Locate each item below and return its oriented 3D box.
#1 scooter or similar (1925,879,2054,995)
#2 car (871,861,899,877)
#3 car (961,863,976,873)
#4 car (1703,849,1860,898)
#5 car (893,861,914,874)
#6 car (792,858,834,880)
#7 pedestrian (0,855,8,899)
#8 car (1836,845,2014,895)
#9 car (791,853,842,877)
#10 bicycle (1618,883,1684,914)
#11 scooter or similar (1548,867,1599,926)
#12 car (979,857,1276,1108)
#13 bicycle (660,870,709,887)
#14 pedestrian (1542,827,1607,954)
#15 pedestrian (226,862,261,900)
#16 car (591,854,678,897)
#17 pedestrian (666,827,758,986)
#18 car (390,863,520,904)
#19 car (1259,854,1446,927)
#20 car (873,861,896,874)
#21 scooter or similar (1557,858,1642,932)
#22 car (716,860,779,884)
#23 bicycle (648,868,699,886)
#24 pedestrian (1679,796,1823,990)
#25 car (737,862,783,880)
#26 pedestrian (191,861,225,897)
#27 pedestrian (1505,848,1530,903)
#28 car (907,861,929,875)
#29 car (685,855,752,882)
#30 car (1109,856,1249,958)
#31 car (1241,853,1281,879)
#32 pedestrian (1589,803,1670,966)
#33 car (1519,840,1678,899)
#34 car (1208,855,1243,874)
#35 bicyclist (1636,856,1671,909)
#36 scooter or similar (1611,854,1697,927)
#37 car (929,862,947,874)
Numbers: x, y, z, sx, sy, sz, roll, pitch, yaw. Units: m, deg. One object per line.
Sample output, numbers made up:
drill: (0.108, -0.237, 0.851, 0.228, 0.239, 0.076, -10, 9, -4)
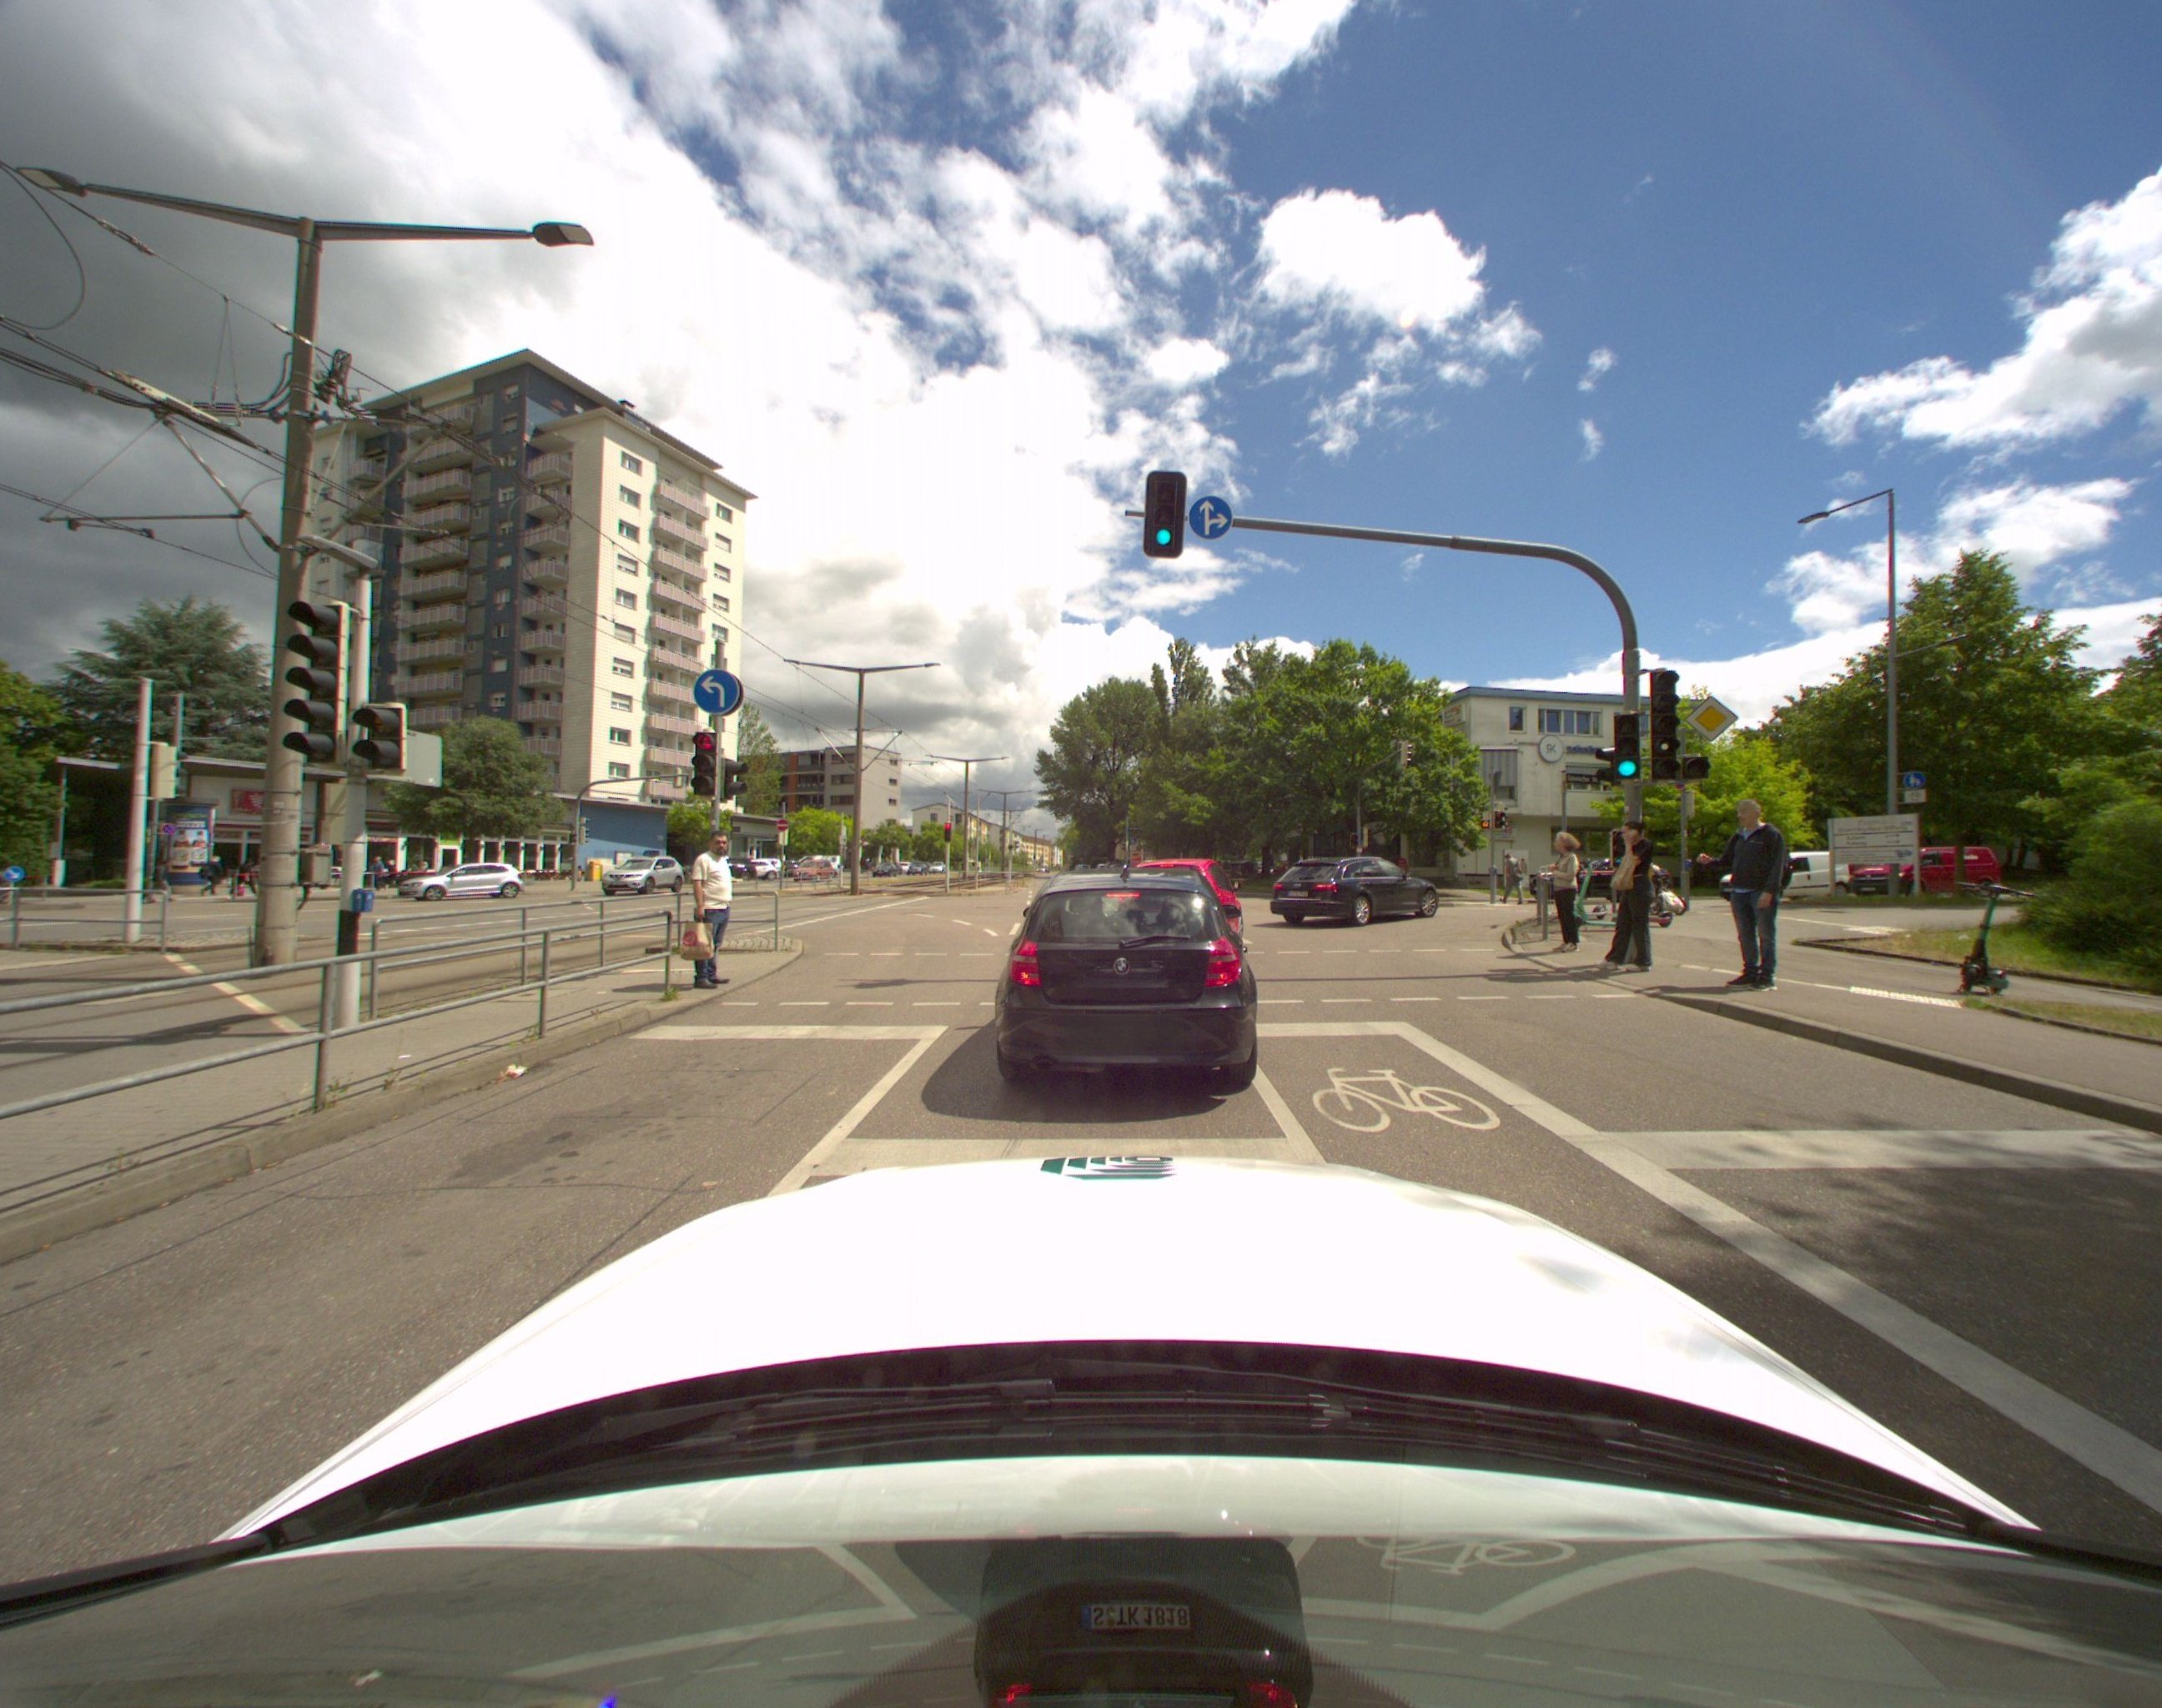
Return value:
scooter or similar: (10.513, 0.943, 9.441, 0.886, 1.230, 0.455, 4, 0, 3)
car: (-19.260, 1.443, 80.193, 1.645, 1.534, 3.873, 0, 0, 1)
car: (-18.063, 2.263, 130.826, 1.645, 1.534, 3.873, 0, 0, 1)
car: (25.813, 0.692, 30.088, 4.365, 1.764, 1.996, 0, 0, -6)
car: (-22.275, 1.671, 102.430, 1.645, 1.534, 3.873, 0, 0, 1)
car: (-19.423, 1.050, 59.106, 1.645, 1.534, 3.873, 0, 0, 1)
pedestrian: (-34.337, 0.717, 25.518, 0.537, 1.375, 0.677, 0, 0, 2)
car: (31.645, 0.568, 30.623, 4.952, 1.800, 1.997, 0, 0, -5)
car: (-23.208, 0.955, 71.597, 3.944, 1.975, 1.637, 0, 0, -39)
bicycle: (12.781, 0.988, 18.303, 0.530, 0.610, 1.593, 0, 0, 6)
scooter or similar: (9.488, 0.789, 15.713, 0.543, 1.064, 1.268, 0, 0, 17)
car: (0.356, 0.748, 6.385, 1.693, 1.400, 3.423, 0, 0, 3)
bicycle: (-23.729, 1.485, 48.808, 2.569, 1.008, 0.749, 1, -2, -25)
pedestrian: (7.034, 0.513, 11.626, 0.632, 1.766, 0.519, 0, 0, 9)
pedestrian: (-33.587, 1.061, 32.685, 0.929, 1.510, 0.738, 0, 0, -43)
car: (-19.346, 0.894, 35.456, 1.585, 1.756, 3.776, 0, 0, 2)
pedestrian: (-4.158, 0.573, 9.223, 0.684, 1.734, 0.688, -1, 0, 3)
car: (-24.452, 1.092, 31.918, 1.393, 1.461, 3.799, 0, 0, 35)
car: (6.193, 0.725, 18.312, 4.562, 1.422, 1.884, -1, 0, -40)
car: (-22.780, 1.566, 94.573, 1.585, 1.474, 3.776, 0, 0, 2)
scooter or similar: (8.906, 0.697, 14.006, 1.104, 1.235, 0.540, 0, 0, 5)
car: (-24.670, 1.311, 60.290, 3.946, 1.647, 1.637, 0, 0, -43)
bicycle: (-23.446, 1.348, 46.902, 2.569, 1.008, 0.749, 1, -2, -25)
pedestrian: (6.935, 0.379, 8.446, 1.015, 1.876, 0.791, 0, 0, -24)
car: (-24.696, 1.283, 62.650, 3.117, 1.281, 1.454, 0, 0, -32)
pedestrian: (-37.118, 1.040, 34.632, 0.738, 1.510, 0.929, 0, 0, 39)
pedestrian: (13.976, 0.699, 26.098, 0.651, 1.713, 0.464, 2, -2, 29)
car: (-18.674, 1.540, 93.429, 1.645, 1.534, 3.873, 0, 0, 1)
car: (-24.432, 0.957, 54.943, 4.012, 1.687, 1.561, 0, 0, -30)
car: (1.720, 0.755, 13.292, 1.625, 1.400, 3.436, 0, 0, 18)
car: (13.319, 0.841, 60.524, 1.724, 1.871, 3.992, 0, 0, -6)
pedestrian: (6.493, 0.355, 9.666, 0.632, 1.876, 0.519, 0, 0, 9)
car: (18.283, 0.545, 28.899, 4.527, 2.013, 1.997, 0, 0, -5)
car: (12.640, 0.893, 71.454, 1.862, 1.662, 3.989, 0, 0, -8)
bicyclist: (12.762, 0.633, 18.158, 0.498, 1.157, 0.400, 0, 0, 8)
scooter or similar: (10.339, 0.638, 14.721, 1.145, 1.272, 0.556, 1, 0, 5)
car: (-18.840, 1.792, 107.480, 1.645, 1.534, 3.873, 0, 0, 1)
